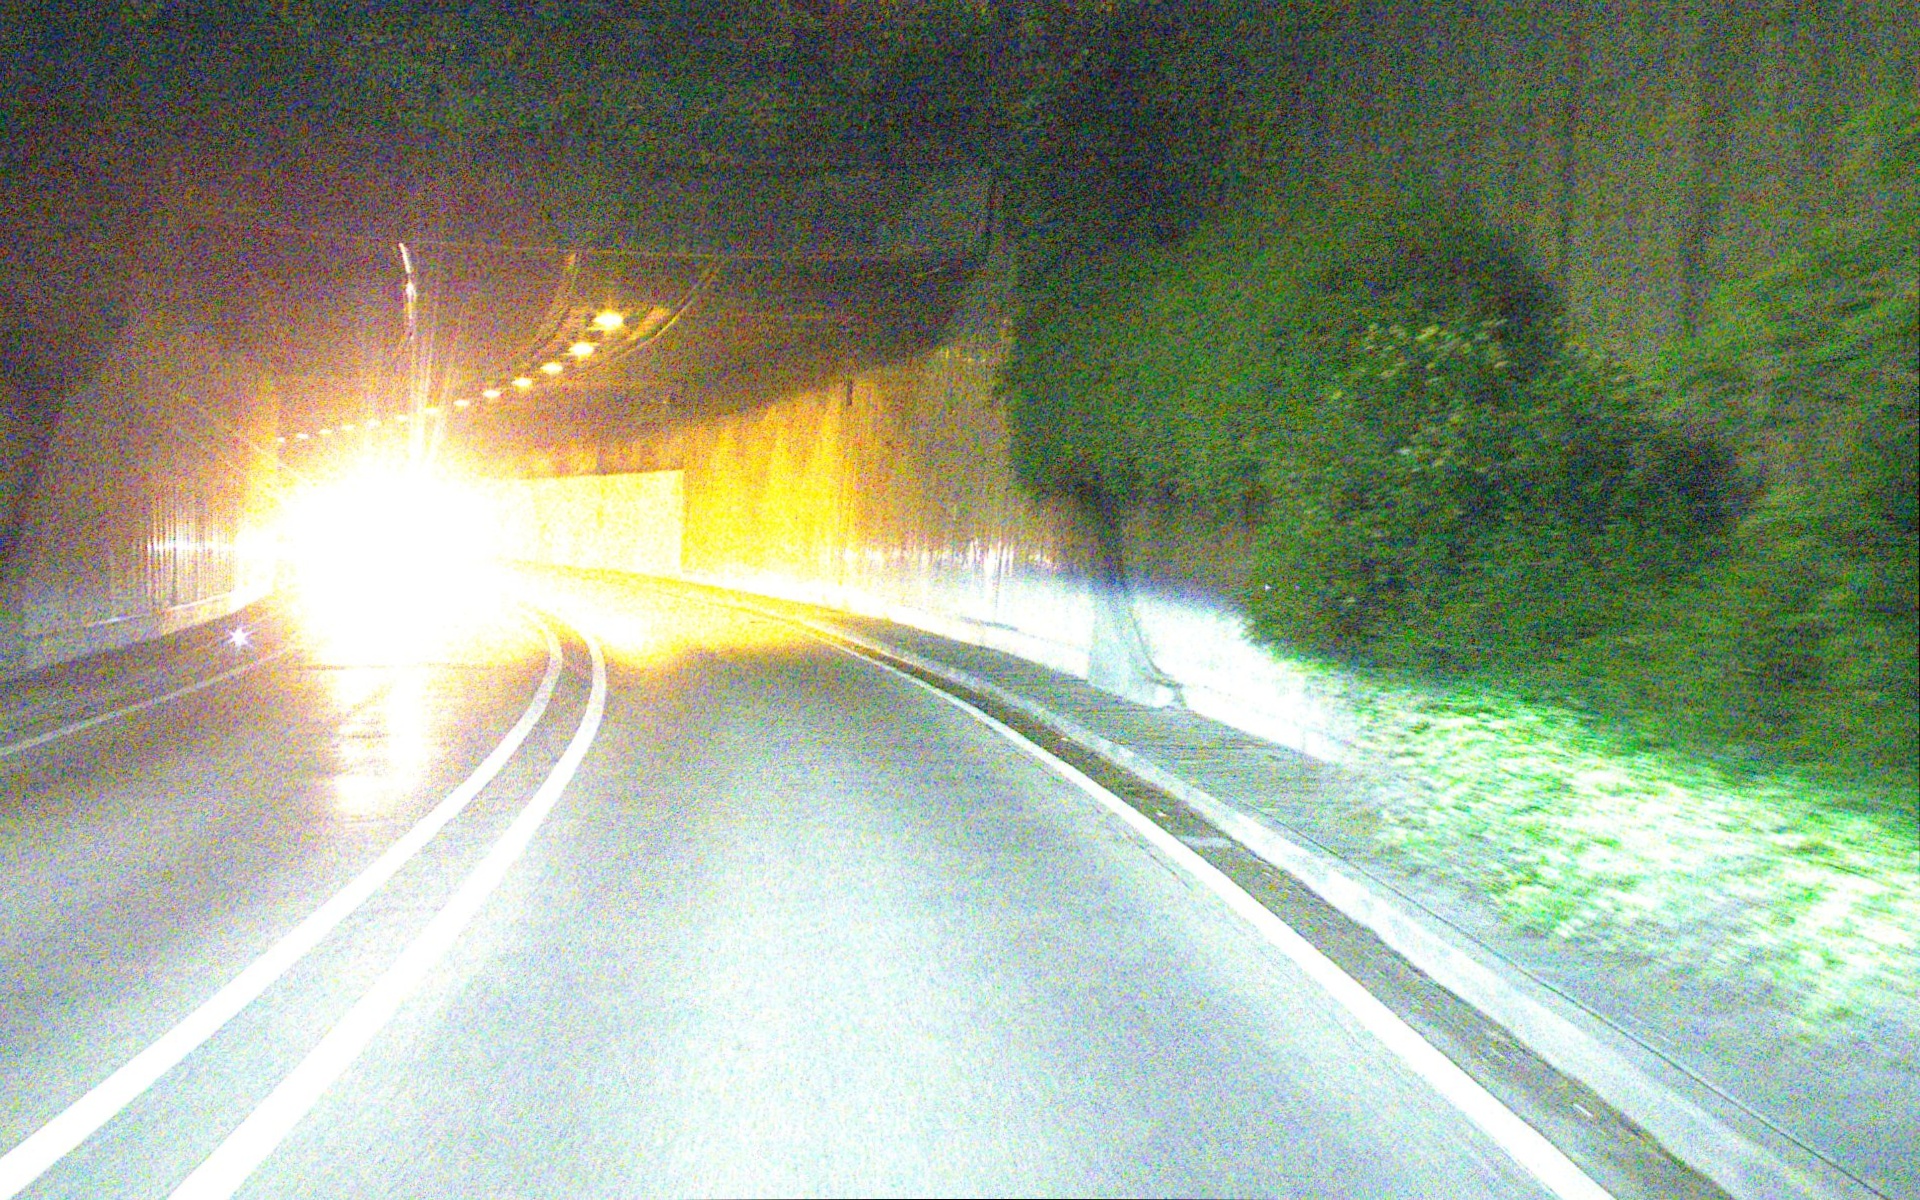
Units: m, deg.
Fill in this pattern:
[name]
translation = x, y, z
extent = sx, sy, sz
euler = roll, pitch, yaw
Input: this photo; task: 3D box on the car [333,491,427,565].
[car]
translation = -15.227, -1.897, 90.128
extent = 1.993, 1.734, 4.001
euler = 5, 0, -14
